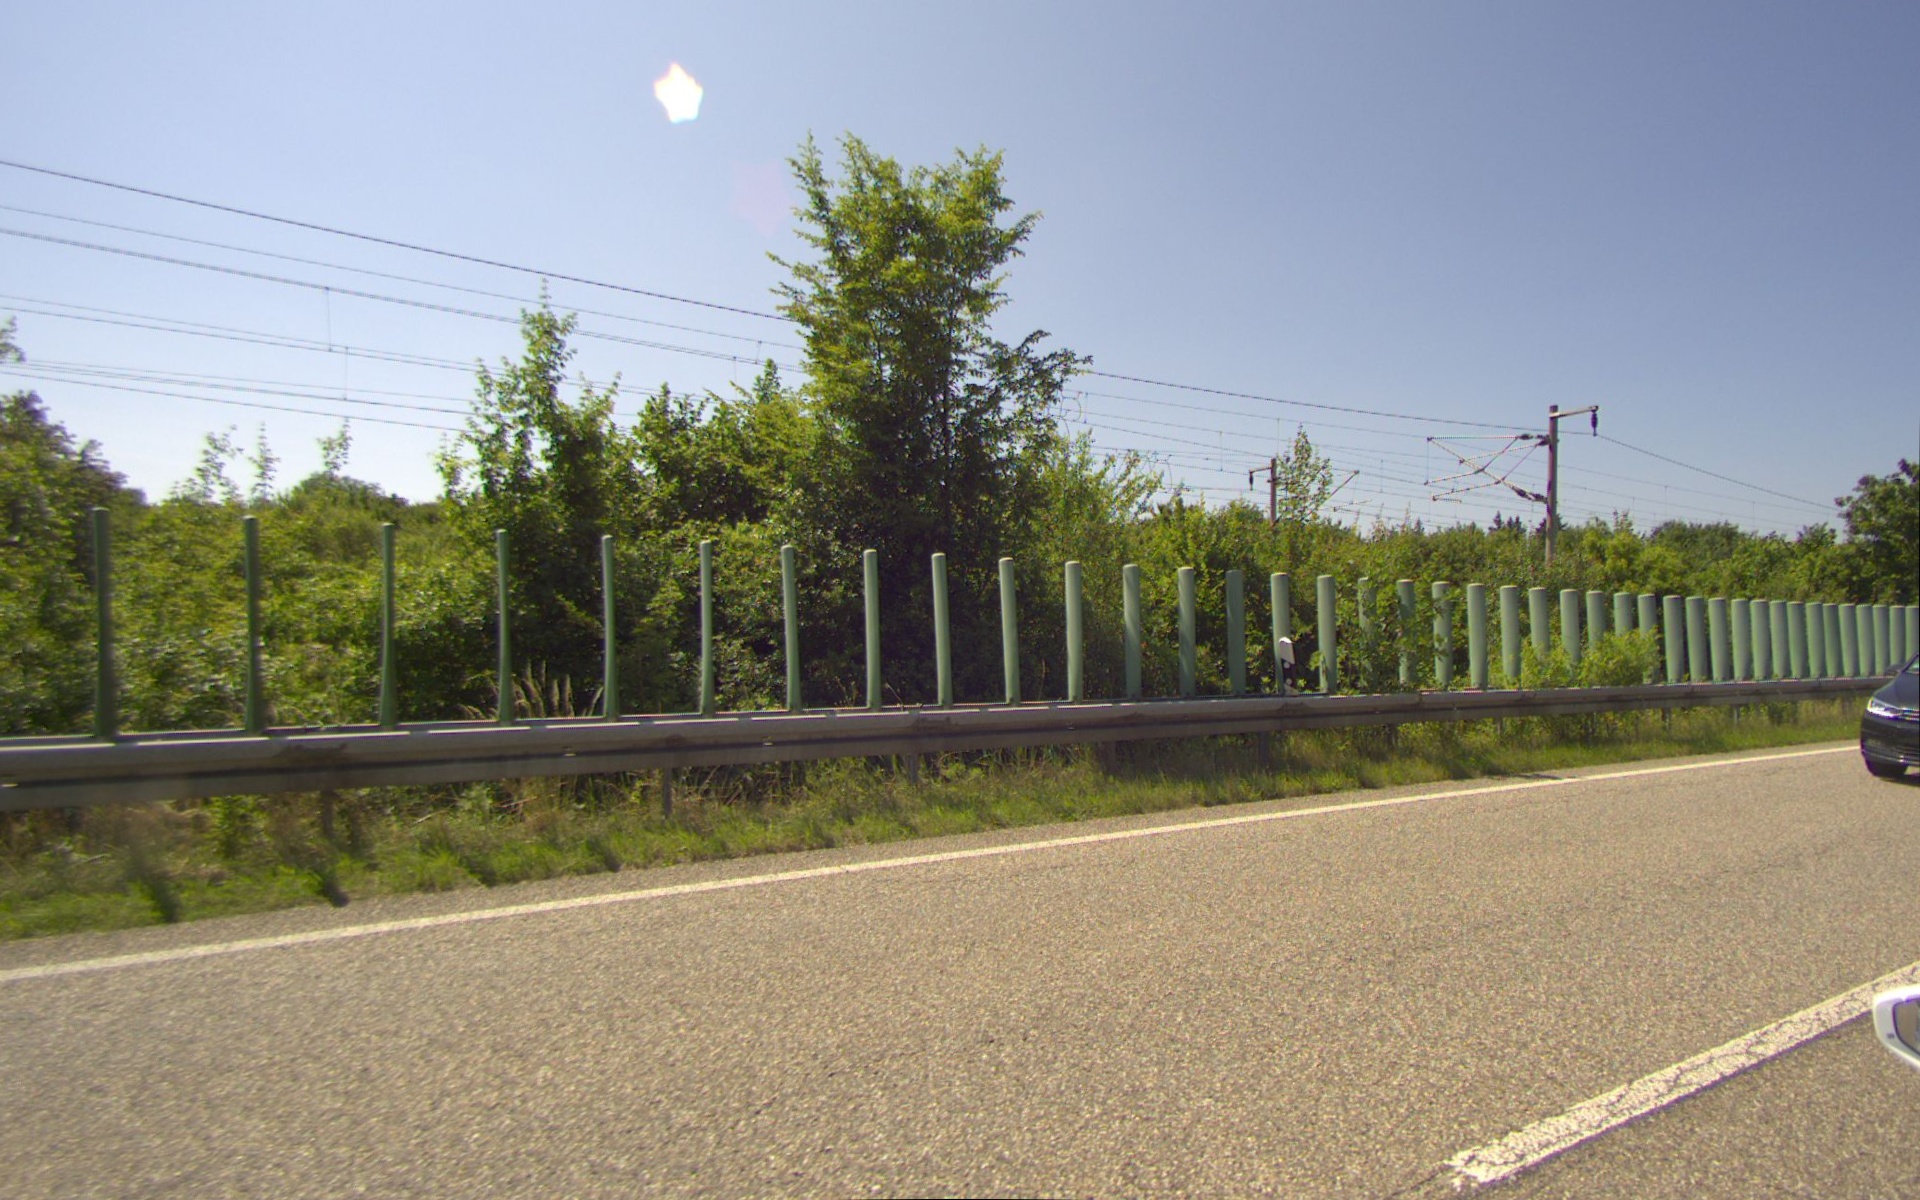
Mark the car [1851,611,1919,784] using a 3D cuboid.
[{"bbox_3d":[11.197,0.990,10.420,4.078,1.662,1.755,2,-1,-30],"label":"car"}]
